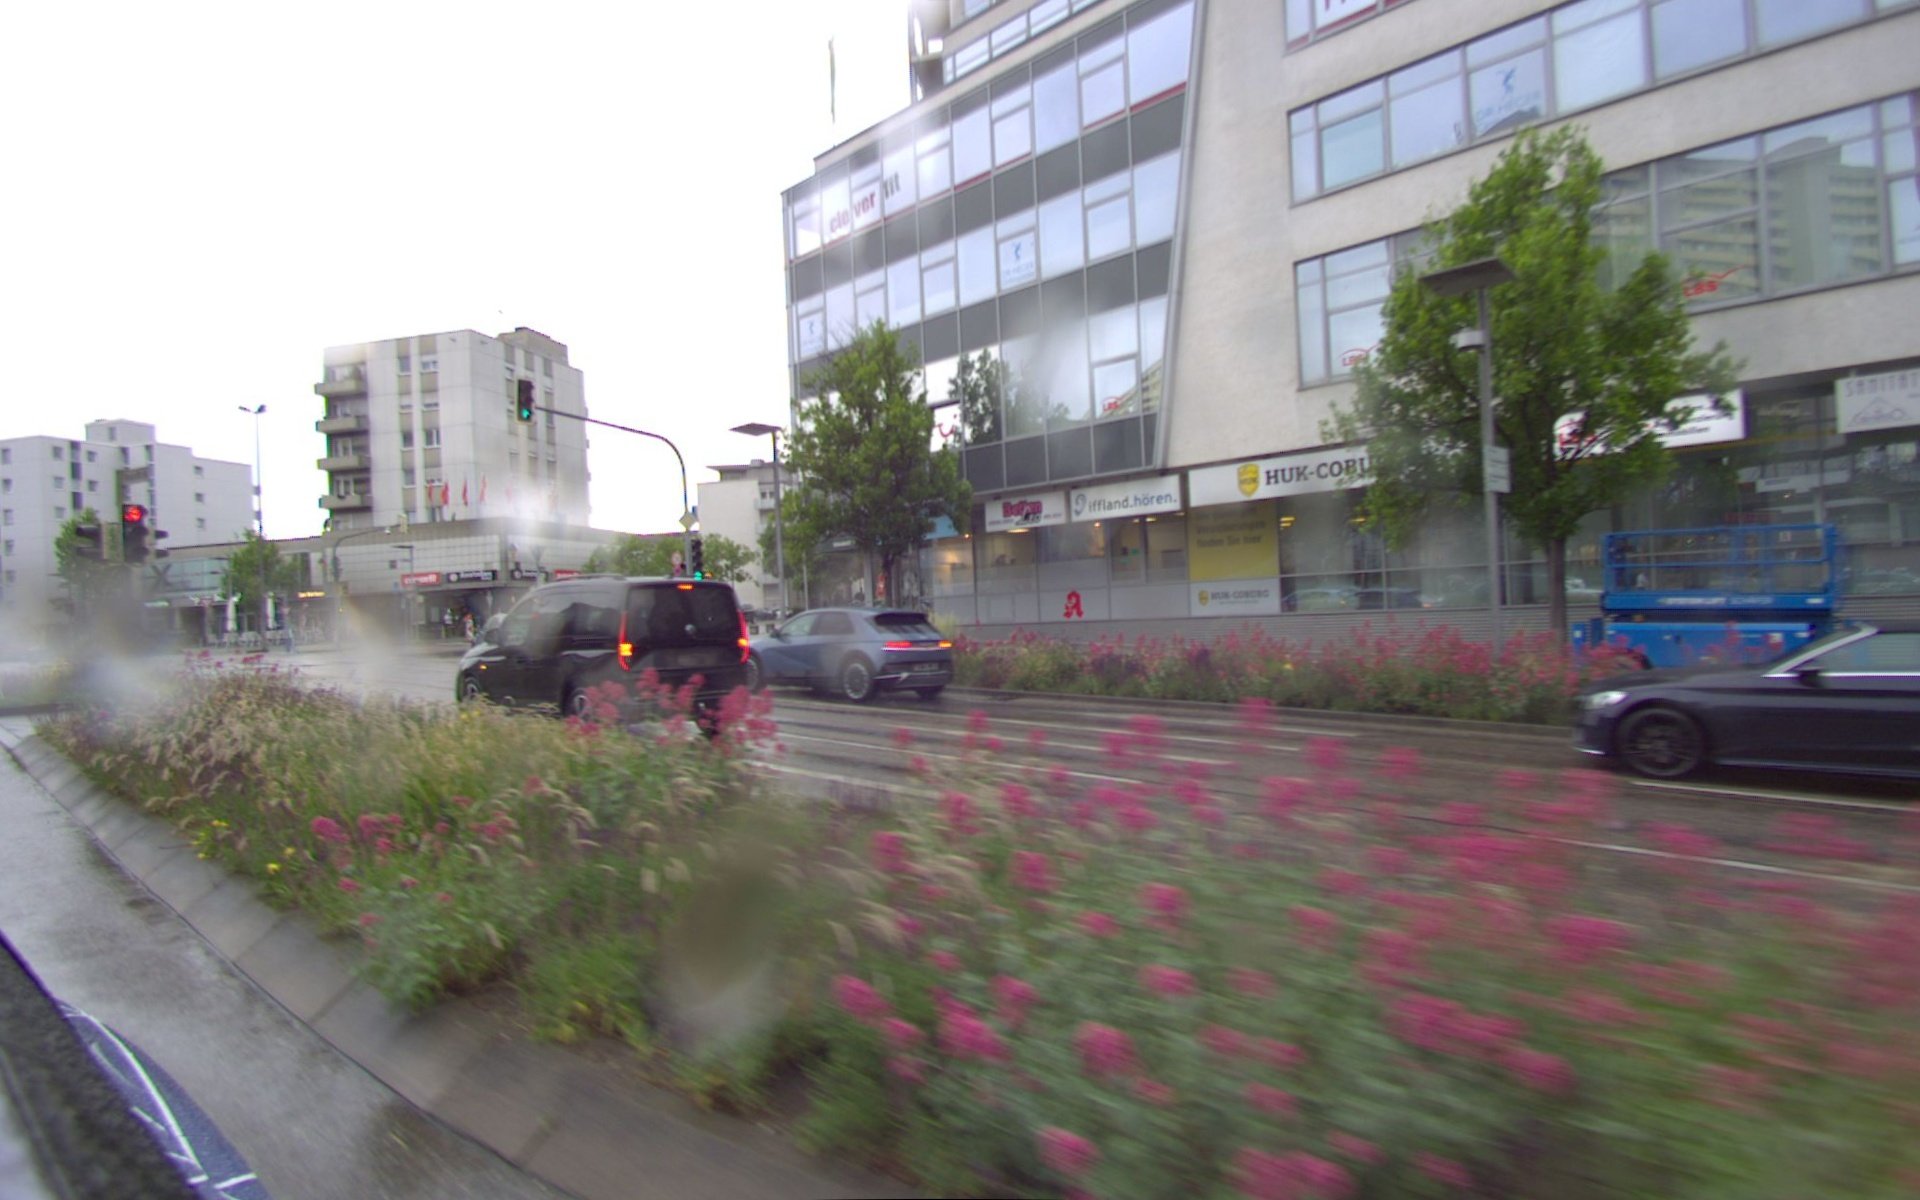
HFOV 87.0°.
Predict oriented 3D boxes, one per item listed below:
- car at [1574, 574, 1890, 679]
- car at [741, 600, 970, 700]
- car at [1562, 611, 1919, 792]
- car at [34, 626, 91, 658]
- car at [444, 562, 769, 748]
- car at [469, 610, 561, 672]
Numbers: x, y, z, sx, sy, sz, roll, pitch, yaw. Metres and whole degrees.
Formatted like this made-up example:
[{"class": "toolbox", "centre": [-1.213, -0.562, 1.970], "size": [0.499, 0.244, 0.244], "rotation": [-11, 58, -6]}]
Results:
[{"class": "car", "centre": [11.855, 0.366, 15.671], "size": [3.731, 1.421, 1.734], "rotation": [-1, 0, 44]}, {"class": "car", "centre": [-1.928, 0.809, 17.908], "size": [4.002, 1.560, 1.895], "rotation": [-1, -1, 43]}, {"class": "car", "centre": [7.735, 0.764, 8.172], "size": [4.705, 1.356, 1.613], "rotation": [-1, -1, 43]}, {"class": "car", "centre": [-47.911, 2.215, 54.019], "size": [4.419, 1.554, 1.727], "rotation": [-1, 0, 41]}, {"class": "car", "centre": [-4.227, 0.568, 11.829], "size": [3.998, 1.804, 1.843], "rotation": [-1, -2, 41]}, {"class": "car", "centre": [-12.793, 1.126, 28.941], "size": [1.657, 1.639, 4.209], "rotation": [0, -1, -35]}]
